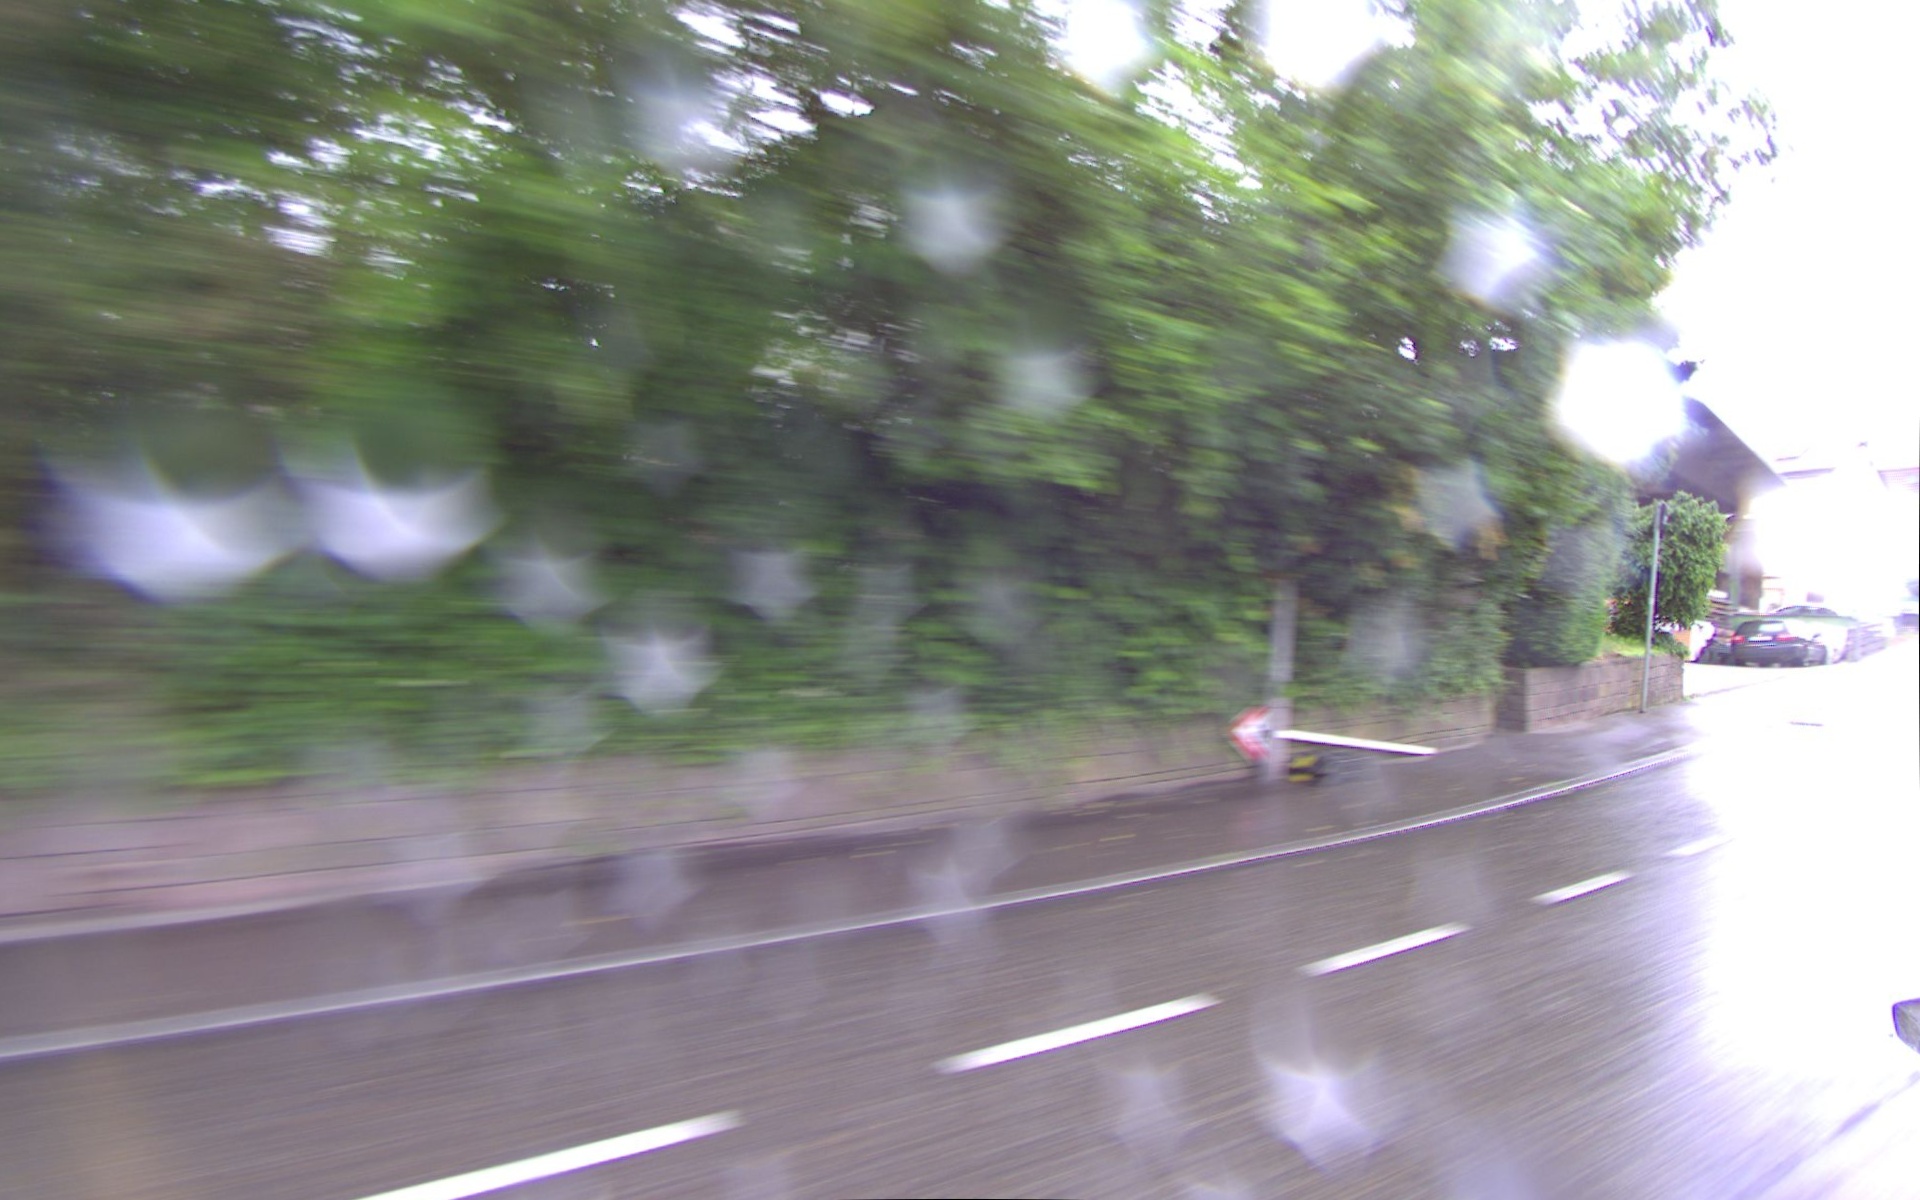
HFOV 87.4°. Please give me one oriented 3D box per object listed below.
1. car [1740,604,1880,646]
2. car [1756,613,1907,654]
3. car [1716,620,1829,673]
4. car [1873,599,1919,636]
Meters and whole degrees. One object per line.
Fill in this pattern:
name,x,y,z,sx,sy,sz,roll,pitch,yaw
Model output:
car,34.586,0.978,40.991,1.878,1.525,3.969,0,1,-29
car,36.754,1.355,42.484,1.878,1.525,4.476,0,1,-29
car,24.684,1.353,30.457,4.409,1.460,1.878,0,-1,-40
car,46.719,0.823,48.812,4.901,1.681,1.965,0,1,-29
